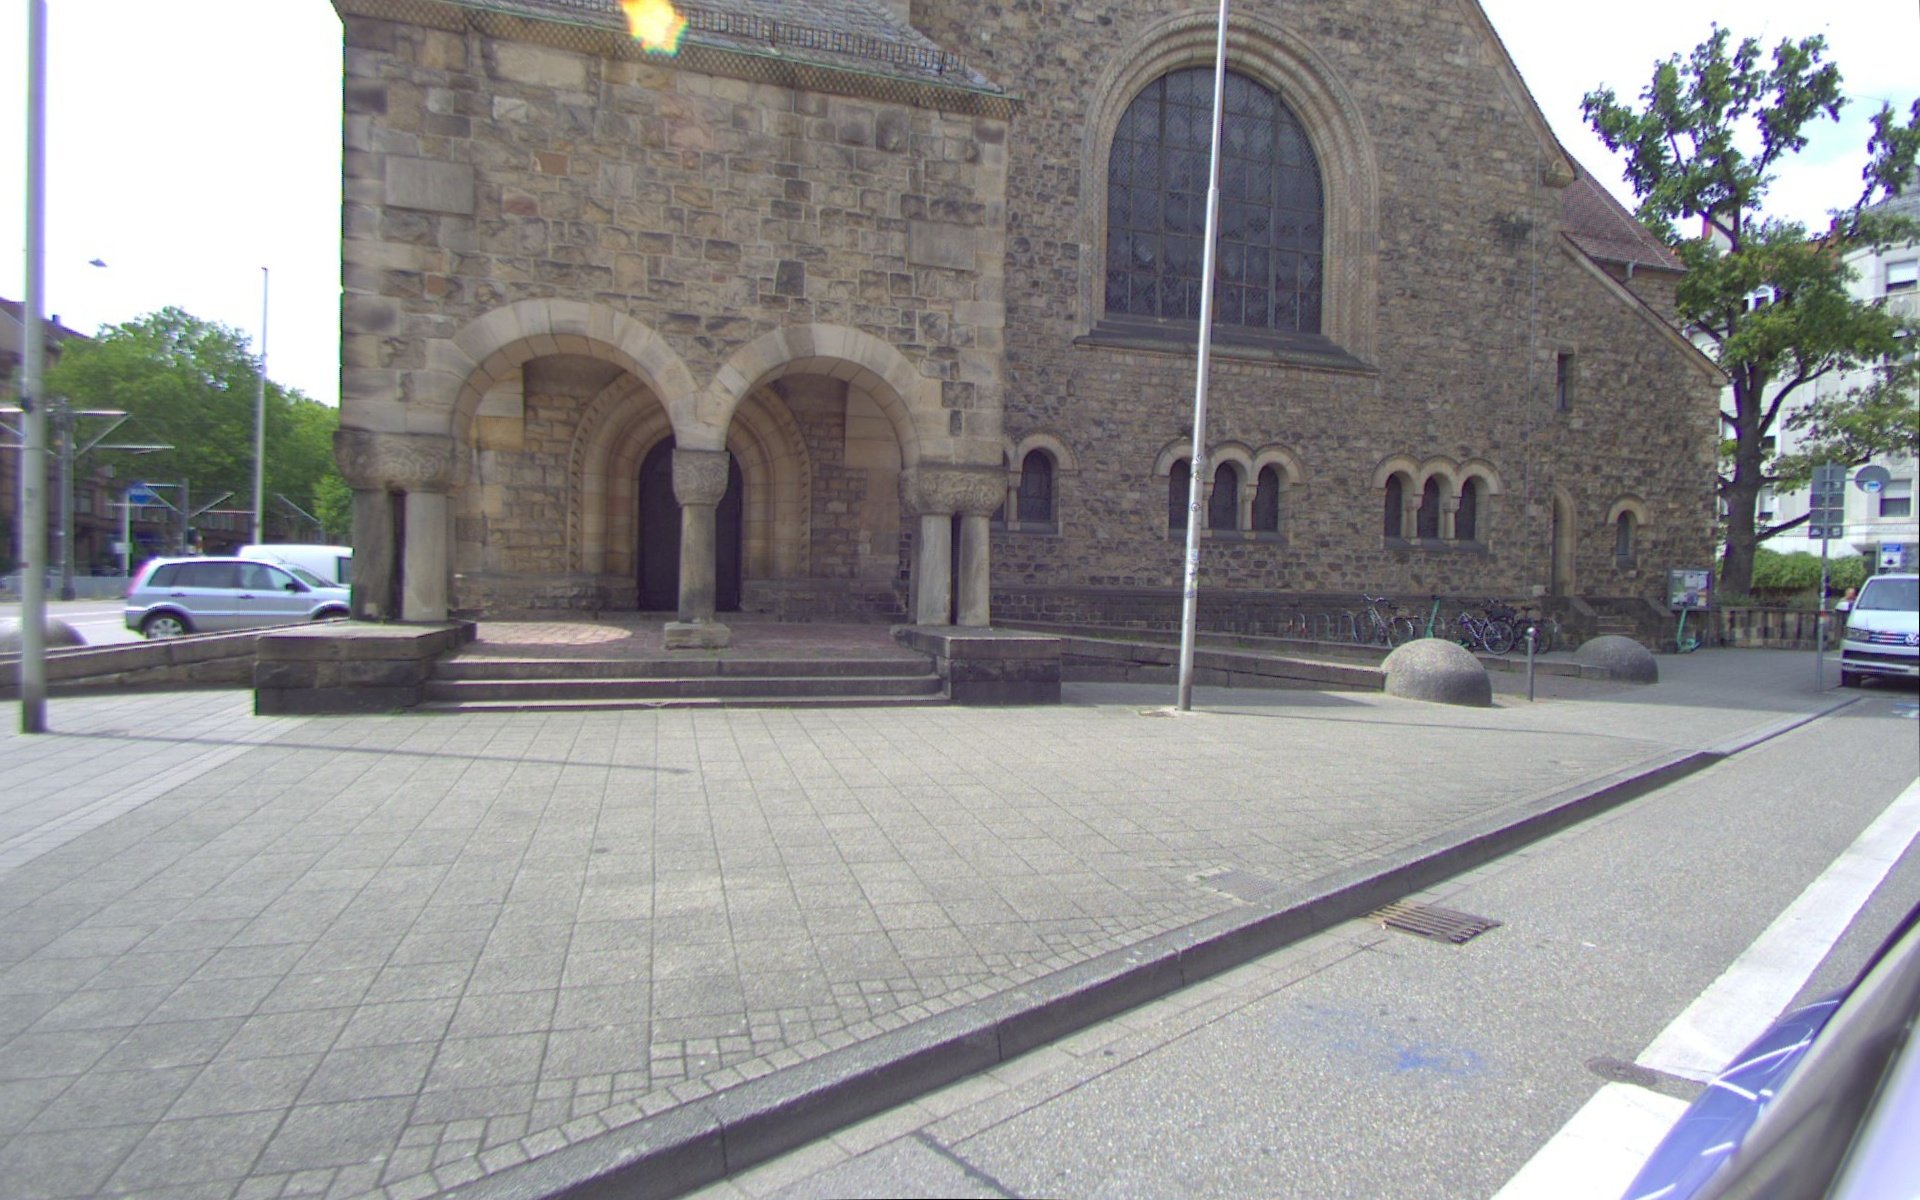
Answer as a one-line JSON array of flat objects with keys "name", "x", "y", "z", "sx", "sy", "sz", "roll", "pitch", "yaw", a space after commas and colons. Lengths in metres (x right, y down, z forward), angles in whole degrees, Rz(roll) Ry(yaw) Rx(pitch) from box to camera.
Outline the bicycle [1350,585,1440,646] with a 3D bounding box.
[{"name": "bicycle", "x": 8.720, "y": 0.287, "z": 20.369, "sx": 0.534, "sy": 1.125, "sz": 1.786, "roll": 1, "pitch": 1, "yaw": -22}]

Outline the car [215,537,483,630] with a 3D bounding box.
[{"name": "car", "x": -12.334, "y": -0.327, "z": 20.749, "sx": 4.328, "sy": 1.747, "sz": 1.956, "roll": 1, "pitch": 1, "yaw": -16}]

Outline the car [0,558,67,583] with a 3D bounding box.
[{"name": "car", "x": -56.256, "y": -1.780, "z": 61.136, "sx": 1.723, "sy": 1.417, "sz": 4.008, "roll": 0, "pitch": 2, "yaw": -12}]

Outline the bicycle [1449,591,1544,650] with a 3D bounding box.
[{"name": "bicycle", "x": 11.083, "y": 0.402, "z": 20.966, "sx": 0.534, "sy": 1.125, "sz": 1.786, "roll": 1, "pitch": 1, "yaw": -22}]

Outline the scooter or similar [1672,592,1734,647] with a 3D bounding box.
[{"name": "scooter or similar", "x": 16.929, "y": 0.442, "z": 23.057, "sx": 1.413, "sy": 1.222, "sz": 0.547, "roll": 1, "pitch": 1, "yaw": -27}]

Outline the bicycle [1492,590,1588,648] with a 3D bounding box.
[{"name": "bicycle", "x": 12.241, "y": 0.376, "z": 21.414, "sx": 0.534, "sy": 1.125, "sz": 1.786, "roll": 1, "pitch": 1, "yaw": -22}]

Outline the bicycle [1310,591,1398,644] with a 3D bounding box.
[{"name": "bicycle", "x": 7.806, "y": 0.330, "z": 20.154, "sx": 0.534, "sy": 0.969, "sz": 1.786, "roll": 1, "pitch": 1, "yaw": -22}]

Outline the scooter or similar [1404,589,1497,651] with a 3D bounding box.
[{"name": "scooter or similar", "x": 9.962, "y": 0.386, "z": 20.614, "sx": 0.534, "sy": 1.154, "sz": 1.786, "roll": 1, "pitch": 1, "yaw": -22}]

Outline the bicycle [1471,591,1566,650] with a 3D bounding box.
[{"name": "bicycle", "x": 11.653, "y": 0.411, "z": 21.167, "sx": 0.534, "sy": 1.125, "sz": 1.779, "roll": 1, "pitch": 1, "yaw": -22}]

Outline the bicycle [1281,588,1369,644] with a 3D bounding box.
[{"name": "bicycle", "x": 7.172, "y": 0.298, "z": 19.964, "sx": 0.534, "sy": 0.969, "sz": 1.787, "roll": 1, "pitch": 3, "yaw": -22}]

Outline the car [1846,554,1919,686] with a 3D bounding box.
[{"name": "car", "x": 16.951, "y": 0.330, "z": 17.356, "sx": 5.035, "sy": 2.054, "sz": 2.018, "roll": 0, "pitch": 3, "yaw": -42}]

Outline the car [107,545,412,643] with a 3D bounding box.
[{"name": "car", "x": -12.068, "y": -0.099, "z": 17.751, "sx": 3.942, "sy": 1.562, "sz": 2.024, "roll": 1, "pitch": 1, "yaw": -16}]
